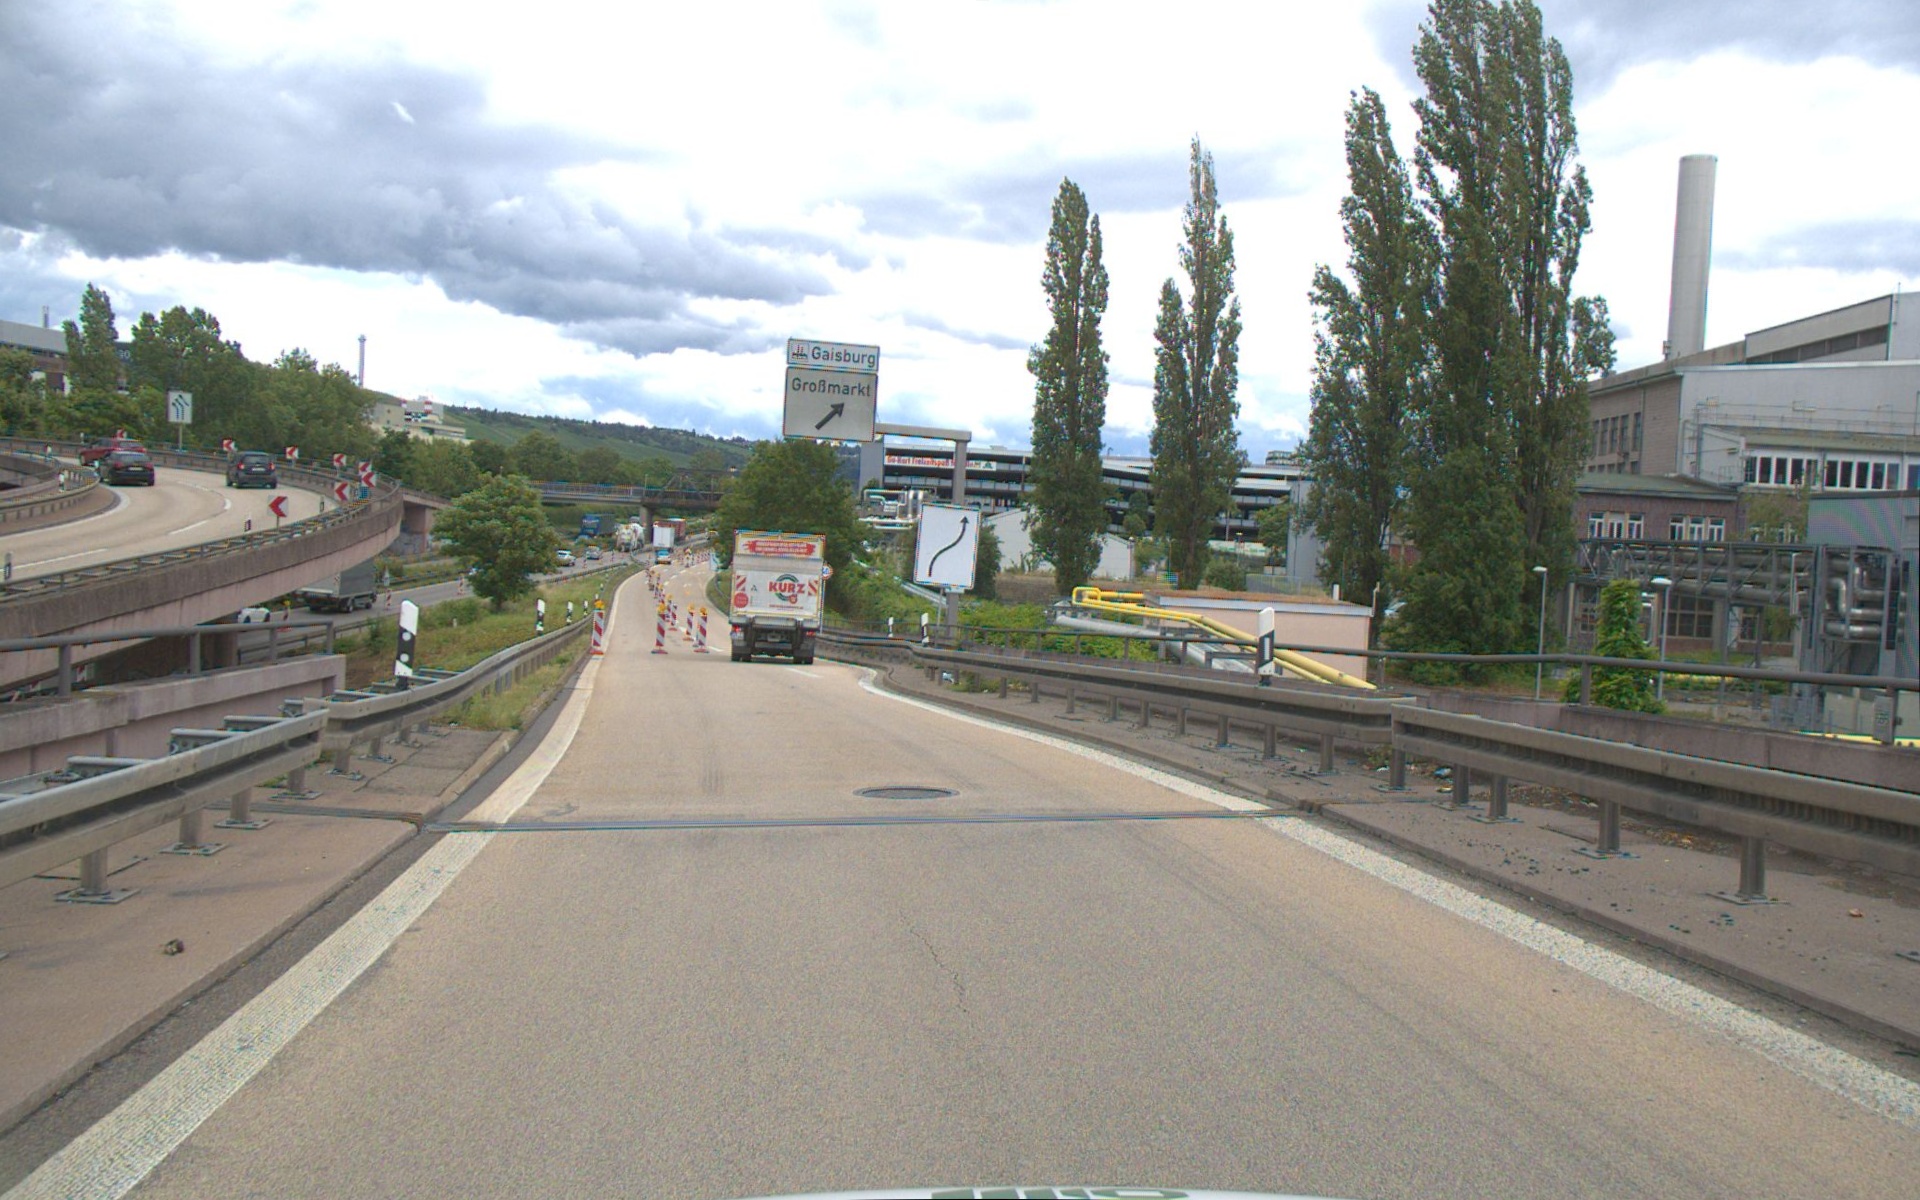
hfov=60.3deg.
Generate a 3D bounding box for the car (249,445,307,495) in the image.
[{"bbox_3d":[-30.088,-5.726,73.085,1.962,1.803,3.980,2,-1,-18],"label":"car"}]

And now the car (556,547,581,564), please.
[{"bbox_3d":[-41.118,-4.702,173.731,1.956,1.645,3.995,3,2,-7],"label":"car"}]

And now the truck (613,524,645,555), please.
[{"bbox_3d":[-43.860,-8.032,219.321,3.224,3.918,7.656,3,2,-7],"label":"truck"}]

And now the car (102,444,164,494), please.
[{"bbox_3d":[-36.093,-5.671,72.139,1.975,1.803,3.954,2,-1,-33],"label":"car"}]

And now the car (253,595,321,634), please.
[{"bbox_3d":[-35.377,0.757,86.985,1.954,1.742,4.100,3,2,-2],"label":"car"}]

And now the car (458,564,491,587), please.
[{"bbox_3d":[-40.468,-2.034,137.924,1.956,1.645,3.995,3,2,-7],"label":"car"}]

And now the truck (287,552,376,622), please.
[{"bbox_3d":[-37.484,-0.853,98.915,2.992,3.718,7.388,3,2,-6],"label":"truck"}]

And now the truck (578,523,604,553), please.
[{"bbox_3d":[-55.908,-9.421,250.716,2.698,4.345,5.501,3,2,-3],"label":"truck"}]

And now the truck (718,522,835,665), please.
[{"bbox_3d":[-5.487,-0.152,49.022,2.993,3.737,7.914,3,-1,-7],"label":"truck"}]

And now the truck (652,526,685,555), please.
[{"bbox_3d":[-39.619,-8.099,225.267,3.221,3.661,7.663,3,2,-2],"label":"truck"}]

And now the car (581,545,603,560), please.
[{"bbox_3d":[-42.842,-5.533,192.743,1.956,1.645,3.995,3,2,-7],"label":"car"}]
